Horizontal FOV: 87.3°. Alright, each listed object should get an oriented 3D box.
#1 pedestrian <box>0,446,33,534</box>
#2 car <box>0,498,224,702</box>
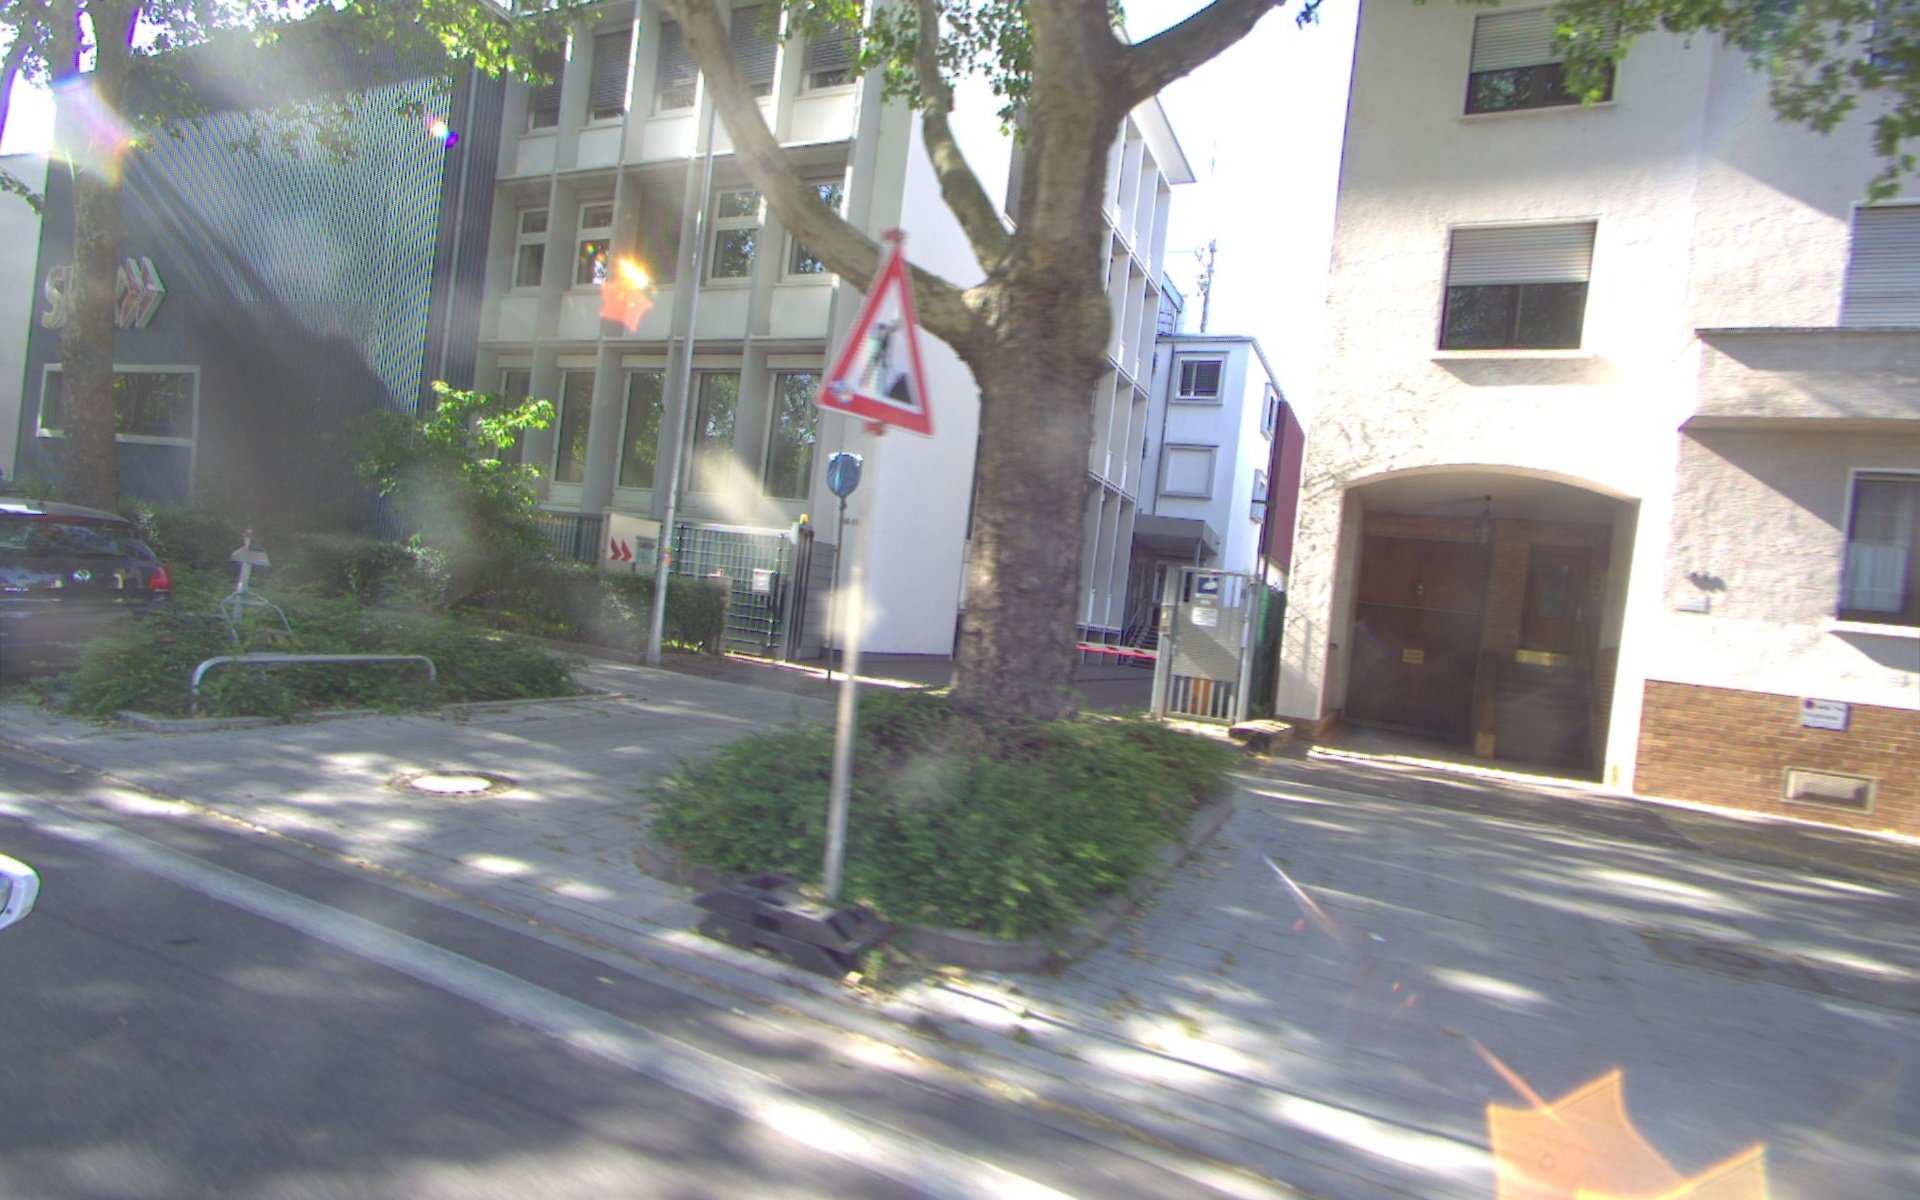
[{"bbox_3d":[-19.401,-2.255,20.228,0.663,1.667,0.708,10,-1,23],"label":"pedestrian"},{"bbox_3d":[-8.799,-0.165,8.943,4.175,1.526,1.768,7,-1,25],"label":"car"}]
